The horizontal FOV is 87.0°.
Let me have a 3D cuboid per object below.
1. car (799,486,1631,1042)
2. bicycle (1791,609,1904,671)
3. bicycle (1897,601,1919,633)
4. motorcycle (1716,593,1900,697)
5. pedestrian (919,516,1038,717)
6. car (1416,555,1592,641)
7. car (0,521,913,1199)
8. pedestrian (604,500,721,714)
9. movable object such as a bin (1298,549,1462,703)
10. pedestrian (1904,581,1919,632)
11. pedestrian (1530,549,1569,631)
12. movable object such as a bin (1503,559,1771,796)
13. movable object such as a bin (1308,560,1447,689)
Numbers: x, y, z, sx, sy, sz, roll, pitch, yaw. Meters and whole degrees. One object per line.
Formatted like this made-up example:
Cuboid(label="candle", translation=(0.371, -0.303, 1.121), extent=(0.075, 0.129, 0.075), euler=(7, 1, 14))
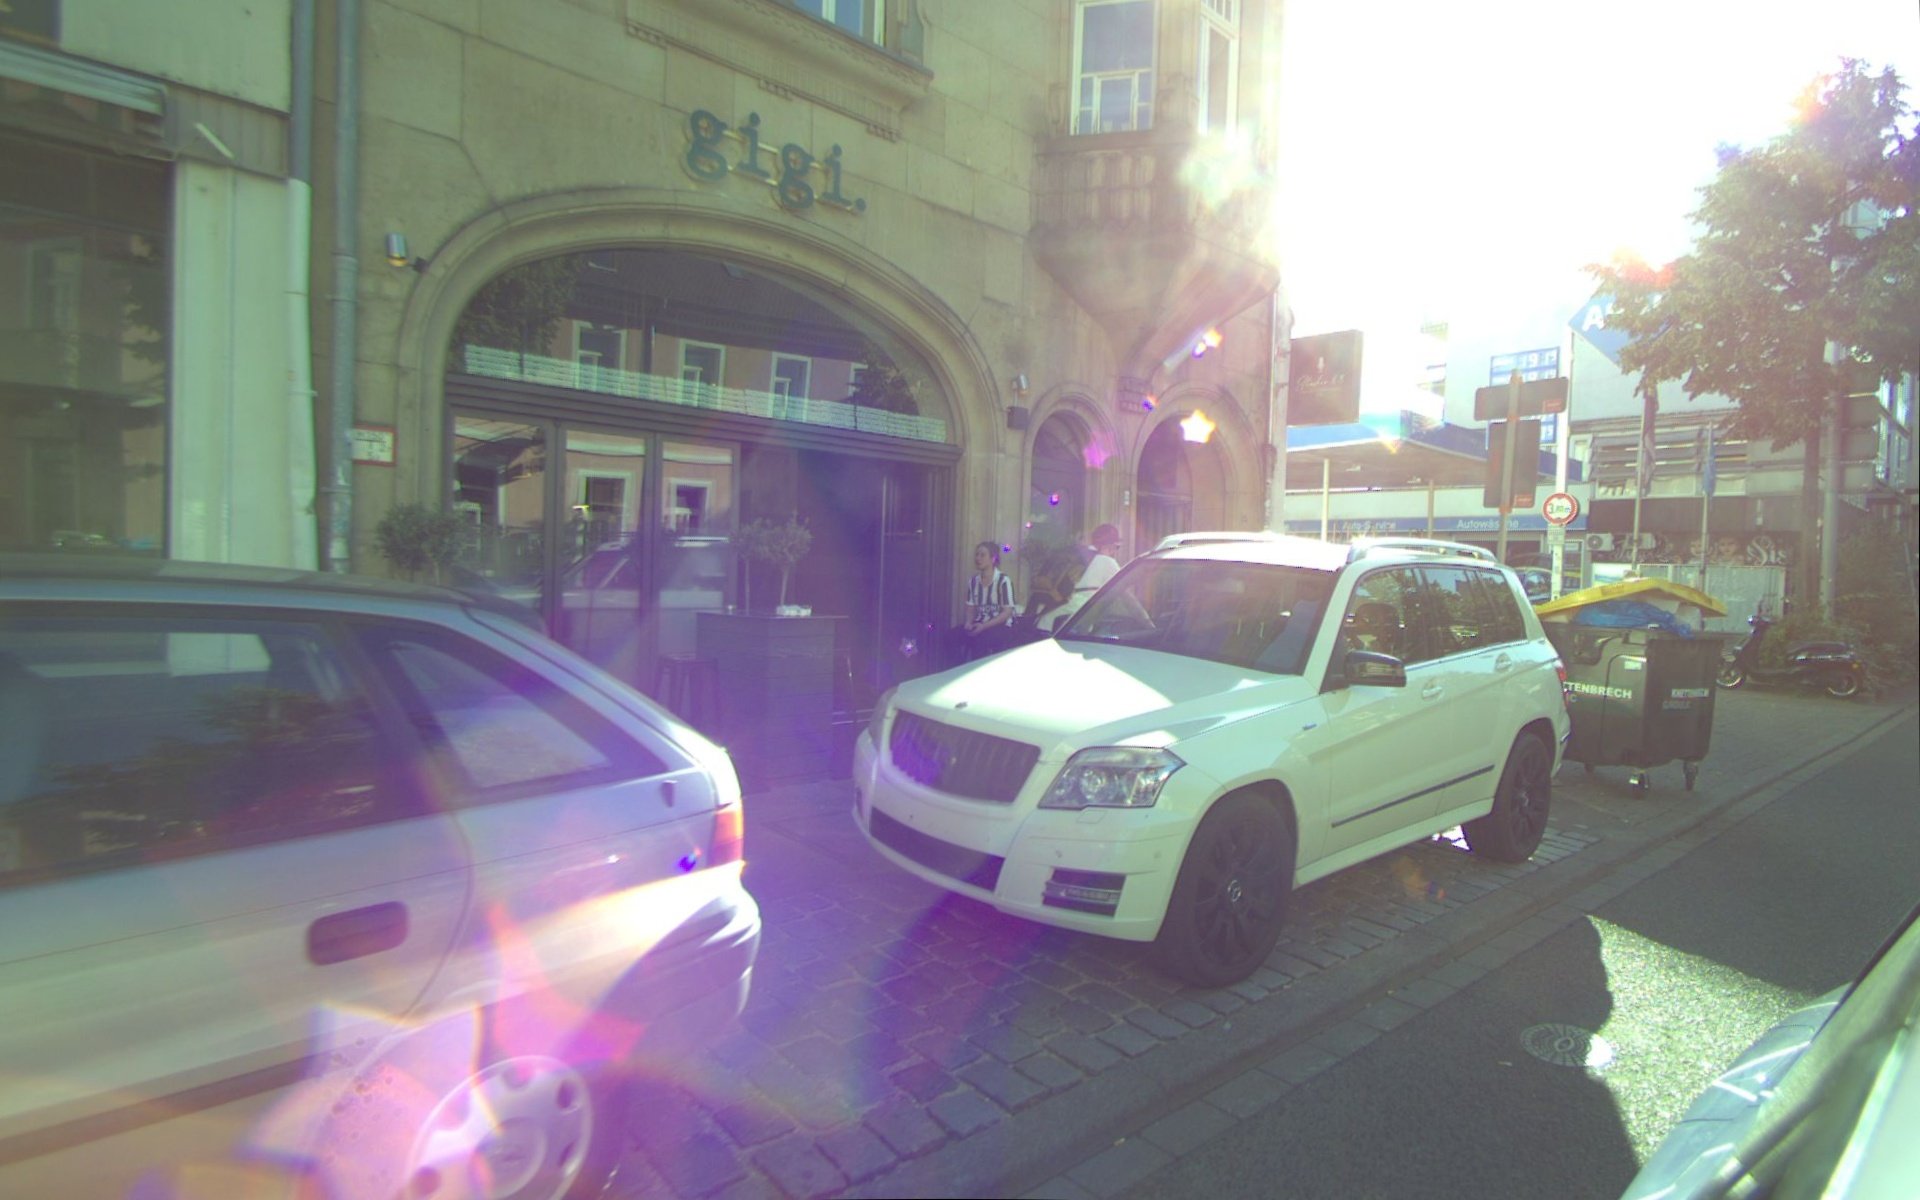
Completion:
Cuboid(label="car", translation=(1.624, 0.436, 5.238), extent=(4.519, 1.699, 1.827), euler=(0, 4, -41))
Cuboid(label="bicycle", translation=(15.480, 0.690, 17.663), extent=(1.638, 1.000, 0.437), euler=(2, 2, -6))
Cuboid(label="bicycle", translation=(36.299, 0.642, 38.065), extent=(0.670, 1.163, 1.682), euler=(2, 2, 7))
Cuboid(label="motorcycle", translation=(12.351, 0.615, 14.844), extent=(1.973, 1.346, 0.899), euler=(3, 2, 38))
Cuboid(label="pedestrian", translation=(0.151, 0.117, 8.296), extent=(0.687, 1.559, 0.612), euler=(1, 2, -41))
Cuboid(label="car", translation=(11.959, -0.058, 22.149), extent=(4.216, 1.668, 1.905), euler=(0, 3, -40))
Cuboid(label="car", translation=(-2.317, 0.566, 1.803), extent=(4.227, 1.407, 1.826), euler=(0, 5, -42))
Cuboid(label="pedestrian", translation=(-2.338, 0.036, 7.932), extent=(0.602, 1.585, 0.698), euler=(1, 2, -41))
Cuboid(label="movable object such as a bin", translation=(4.916, 0.262, 11.842), extent=(1.472, 1.647, 1.207), euler=(0, 2, -42))
Cuboid(label="pedestrian", translation=(36.831, 0.258, 38.588), extent=(0.745, 1.959, 0.930), euler=(1, 1, -16))
Cuboid(label="pedestrian", translation=(13.911, -0.238, 23.862), extent=(0.684, 1.872, 0.701), euler=(3, 2, 33))
Cuboid(label="movable object such as a bin", translation=(5.113, 0.510, 7.666), extent=(1.431, 1.581, 1.147), euler=(1, 2, -33))
Cuboid(label="movable object such as a bin", translation=(5.470, 0.283, 13.272), extent=(1.156, 1.549, 1.273), euler=(0, 2, -42))
